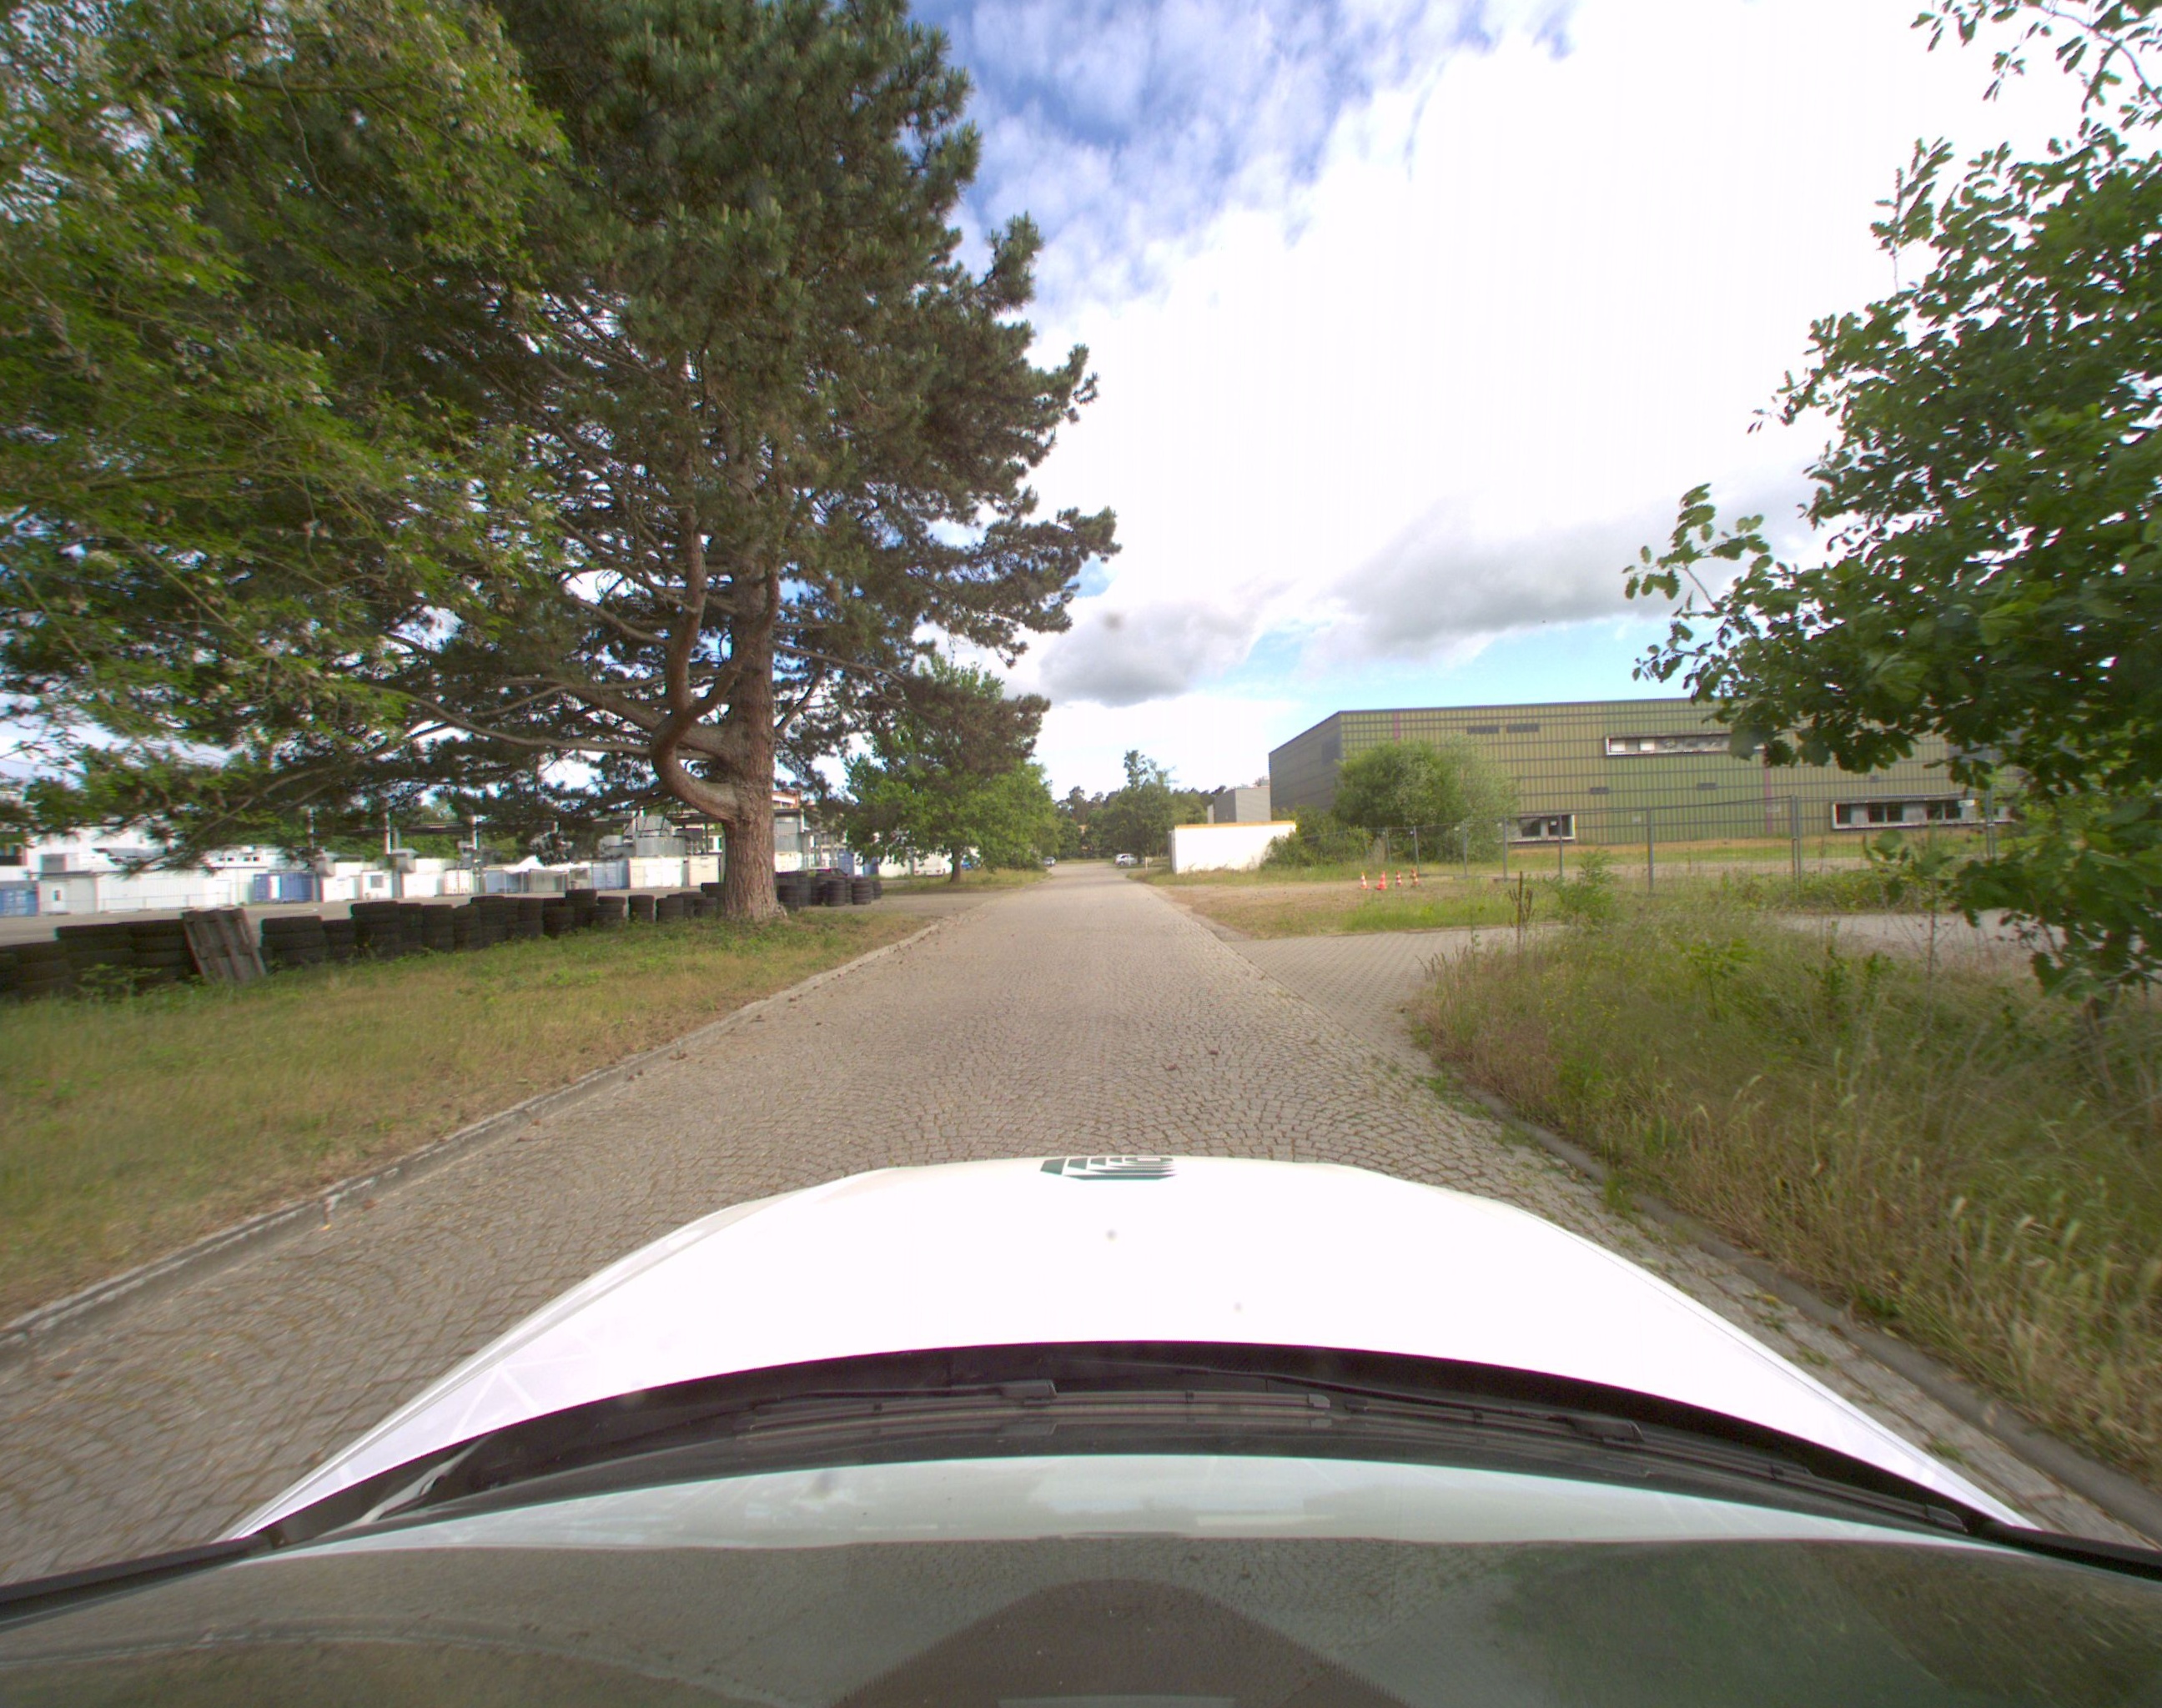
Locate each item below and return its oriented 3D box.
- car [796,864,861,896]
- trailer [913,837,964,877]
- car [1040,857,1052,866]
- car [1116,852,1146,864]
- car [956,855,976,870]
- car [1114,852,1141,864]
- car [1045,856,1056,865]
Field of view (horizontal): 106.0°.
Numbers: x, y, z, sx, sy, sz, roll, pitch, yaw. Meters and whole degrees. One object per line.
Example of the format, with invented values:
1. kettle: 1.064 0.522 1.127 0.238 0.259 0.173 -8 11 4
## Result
1. car: -12.907 1.309 41.907 1.617 1.433 4.071 -3 0 6
2. trailer: -13.848 0.254 80.085 2.614 3.598 10.186 -2 0 3
3. car: -5.643 1.169 131.726 1.642 1.369 3.998 -2 0 1
4. car: 6.907 0.545 112.780 3.970 1.448 1.653 -4 0 1
5. car: -16.867 1.202 119.769 1.986 2.013 4.769 -2 0 1
6. car: 6.318 0.581 110.089 3.510 1.362 1.623 -4 0 1
7. car: -5.354 1.109 142.068 1.642 1.458 3.998 -2 0 1
